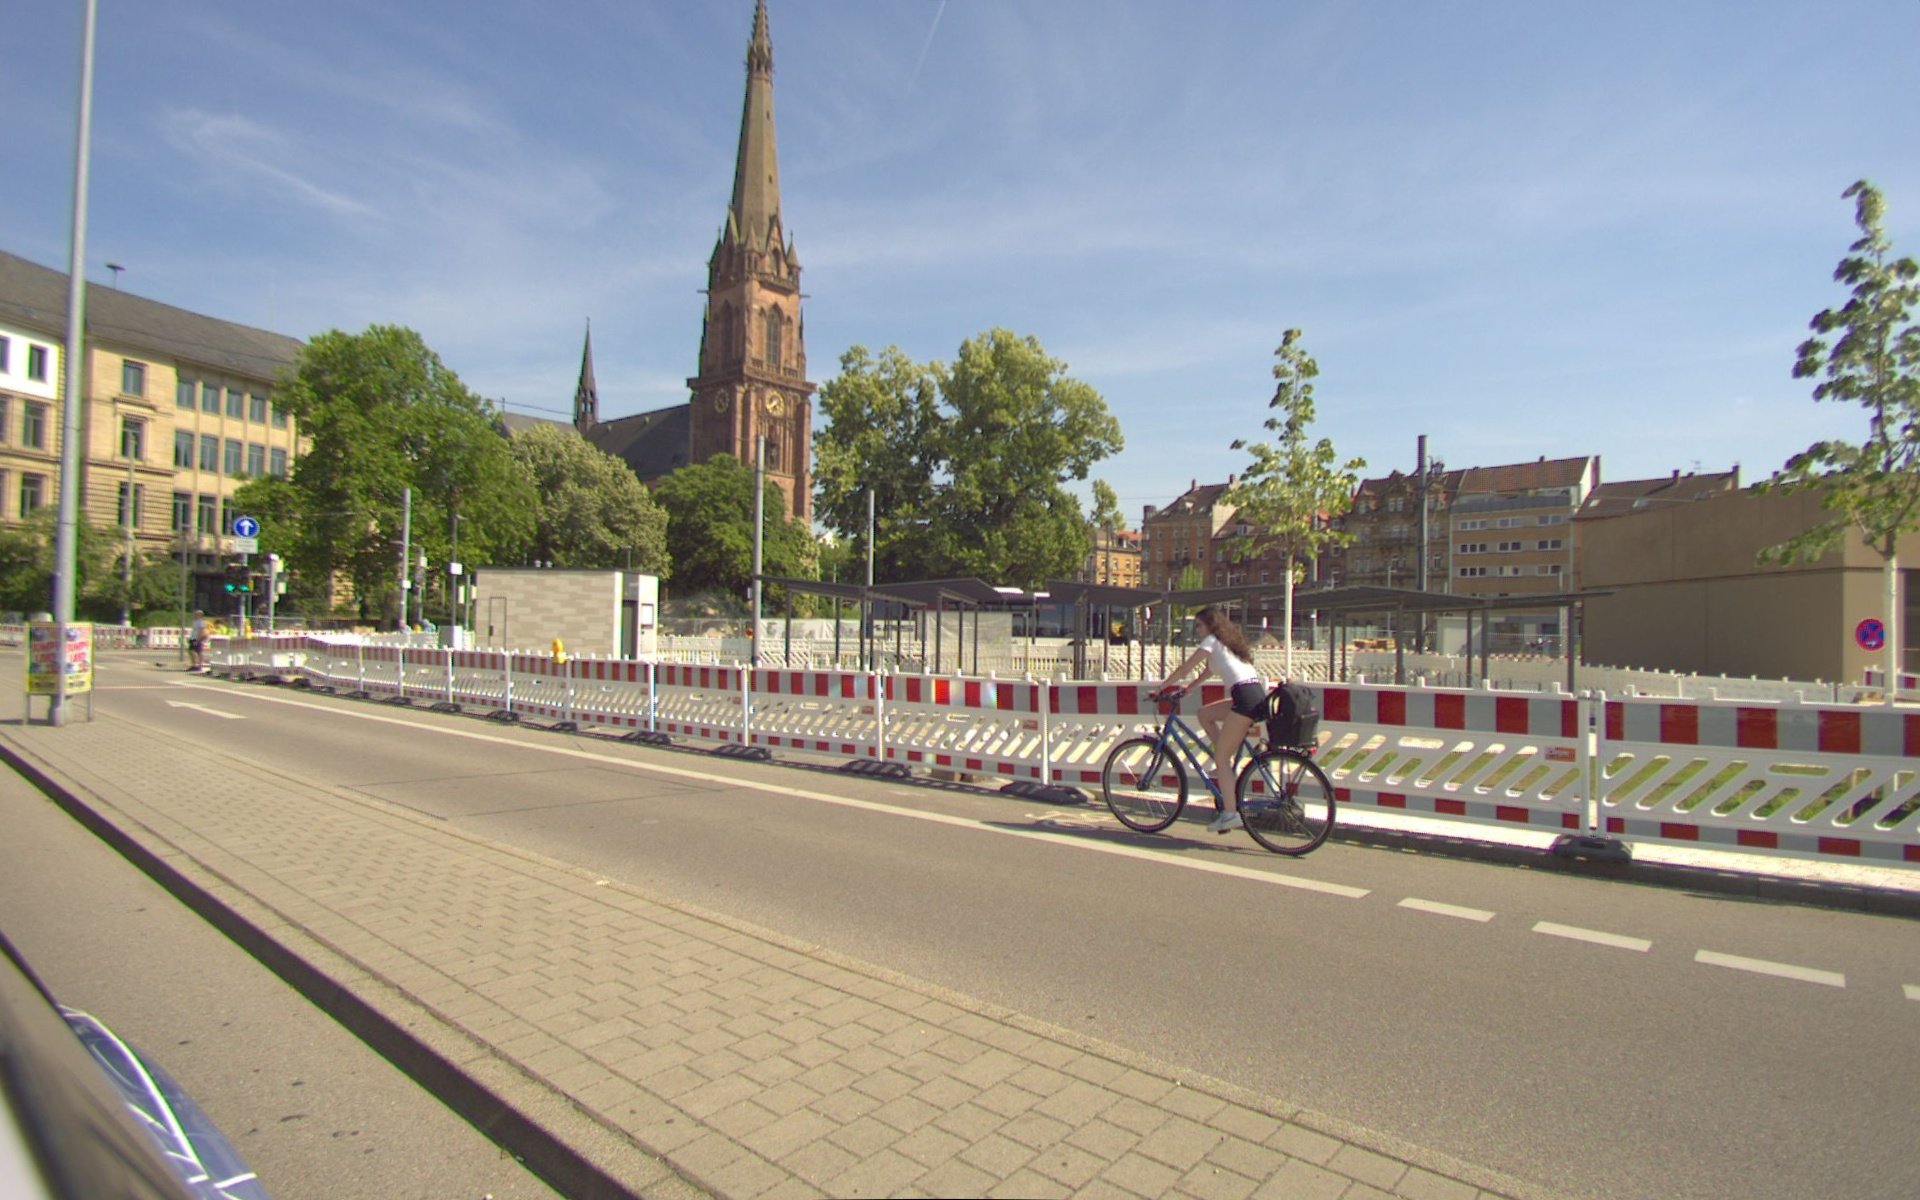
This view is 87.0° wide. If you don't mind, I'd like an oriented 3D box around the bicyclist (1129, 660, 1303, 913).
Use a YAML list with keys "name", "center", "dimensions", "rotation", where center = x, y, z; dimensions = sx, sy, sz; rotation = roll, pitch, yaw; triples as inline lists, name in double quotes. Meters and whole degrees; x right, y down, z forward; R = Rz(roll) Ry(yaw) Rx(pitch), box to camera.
- name: "bicyclist"
  center: [1.794, 1.239, 7.093]
  dimensions: [1.012, 1.594, 0.613]
  rotation: [-1, -4, 37]

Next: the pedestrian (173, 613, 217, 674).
- name: "pedestrian"
  center: [-23.287, 1.325, 30.829]
  dimensions: [0.828, 1.826, 0.650]
  rotation: [0, -2, -6]

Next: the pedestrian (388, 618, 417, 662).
- name: "pedestrian"
  center: [-20.869, 1.493, 37.887]
  dimensions: [0.653, 1.628, 0.794]
  rotation: [0, -2, 0]

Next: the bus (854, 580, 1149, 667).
- name: "bus"
  center: [1.796, 1.021, 44.380]
  dimensions: [12.504, 3.516, 2.856]
  rotation: [1, -2, 7]

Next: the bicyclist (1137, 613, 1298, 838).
- name: "bicyclist"
  center: [1.810, 0.836, 7.115]
  dimensions: [0.919, 1.454, 0.613]
  rotation: [-1, -4, 36]

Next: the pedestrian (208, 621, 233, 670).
- name: "pedestrian"
  center: [-24.420, 1.491, 33.427]
  dimensions: [0.416, 1.555, 0.670]
  rotation: [-1, 0, -16]

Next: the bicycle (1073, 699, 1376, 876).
- name: "bicycle"
  center: [1.805, 1.239, 7.088]
  dimensions: [1.964, 0.968, 0.613]
  rotation: [0, -4, 37]

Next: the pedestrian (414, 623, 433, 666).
- name: "pedestrian"
  center: [-20.669, 1.717, 39.014]
  dimensions: [0.576, 1.628, 0.692]
  rotation: [1, -2, -24]

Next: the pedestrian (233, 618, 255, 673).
- name: "pedestrian"
  center: [-21.498, 1.356, 30.369]
  dimensions: [0.686, 1.628, 0.346]
  rotation: [-1, -3, 42]
